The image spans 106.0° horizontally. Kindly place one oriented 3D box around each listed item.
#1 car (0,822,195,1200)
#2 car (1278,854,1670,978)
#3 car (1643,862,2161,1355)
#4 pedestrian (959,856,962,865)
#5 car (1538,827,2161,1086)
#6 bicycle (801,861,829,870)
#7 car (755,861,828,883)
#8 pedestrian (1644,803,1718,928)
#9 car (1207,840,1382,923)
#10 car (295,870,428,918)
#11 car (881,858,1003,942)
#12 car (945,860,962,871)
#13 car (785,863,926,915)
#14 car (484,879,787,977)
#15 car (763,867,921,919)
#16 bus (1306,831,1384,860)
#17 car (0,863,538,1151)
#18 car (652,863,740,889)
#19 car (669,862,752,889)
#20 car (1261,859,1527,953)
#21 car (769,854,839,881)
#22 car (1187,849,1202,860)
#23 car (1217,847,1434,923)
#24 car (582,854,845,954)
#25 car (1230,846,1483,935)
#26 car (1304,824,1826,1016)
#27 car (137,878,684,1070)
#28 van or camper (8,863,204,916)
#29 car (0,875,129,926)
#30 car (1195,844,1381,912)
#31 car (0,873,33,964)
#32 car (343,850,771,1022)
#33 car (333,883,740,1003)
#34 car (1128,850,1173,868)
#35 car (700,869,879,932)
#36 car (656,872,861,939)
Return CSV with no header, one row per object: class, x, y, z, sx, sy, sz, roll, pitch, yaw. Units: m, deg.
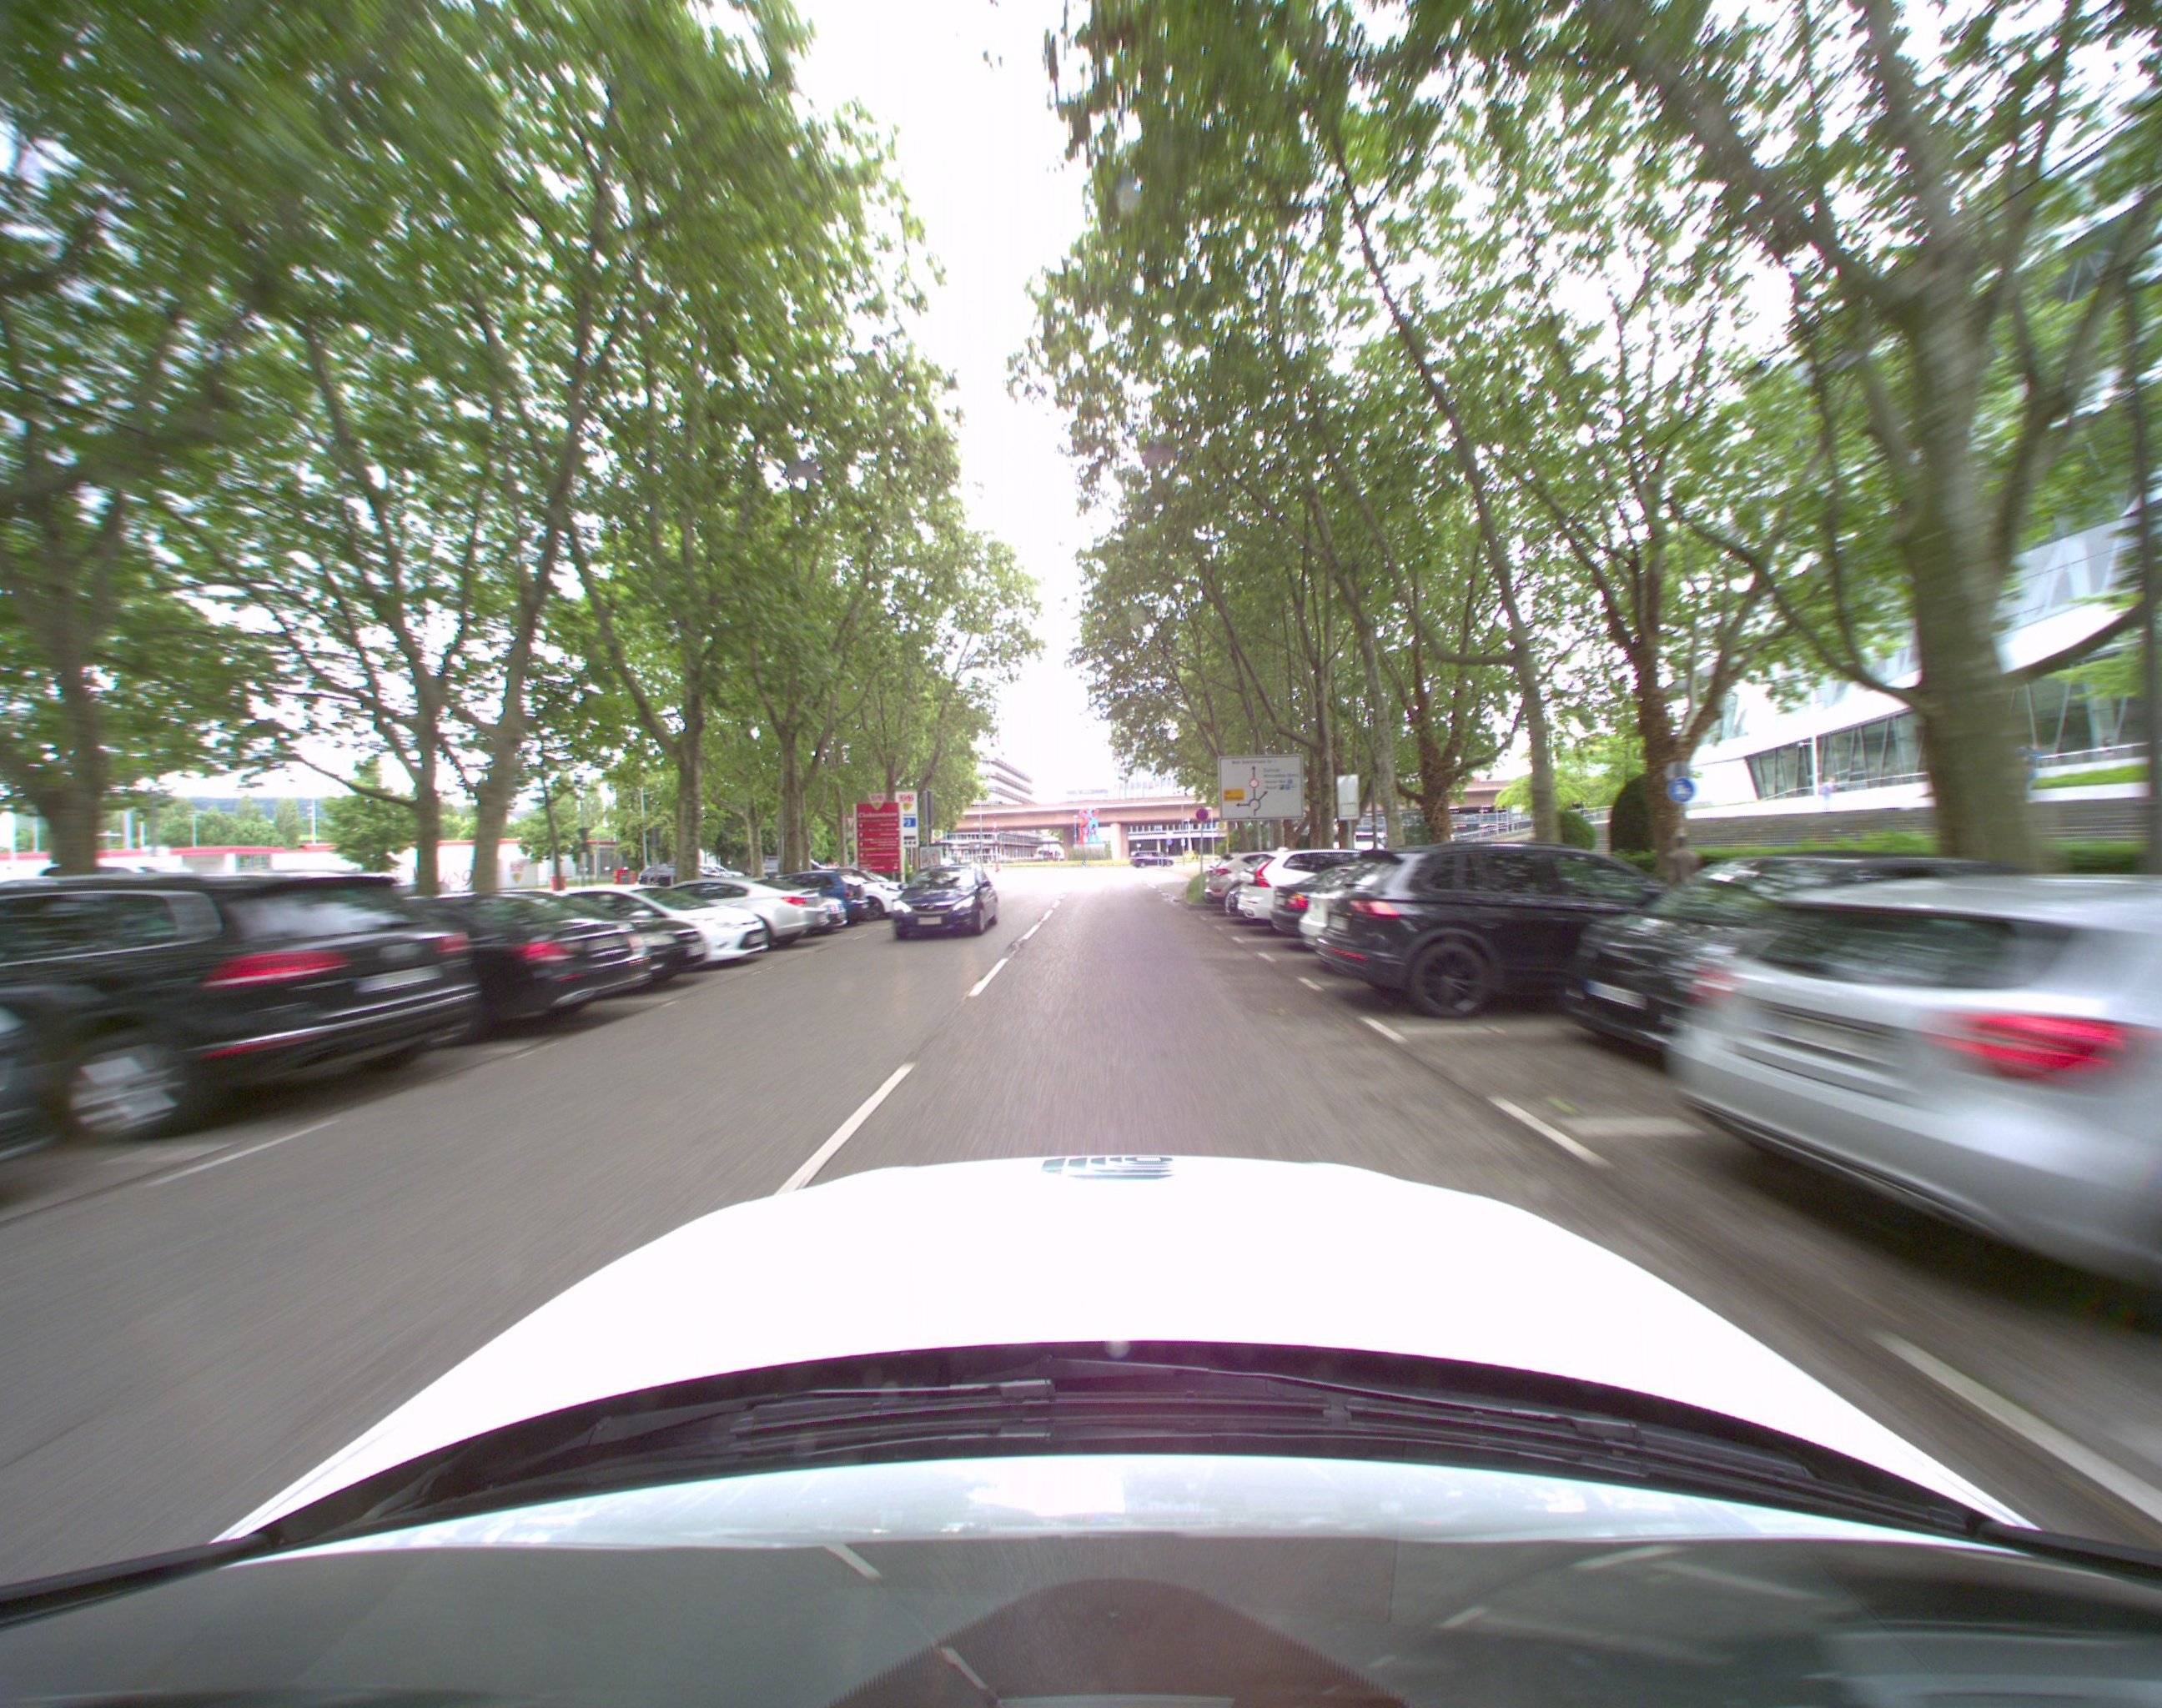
car,-7.347,0.877,3.721,4.307,1.810,1.866,-3,0,-3
car,5.020,0.752,10.870,4.332,1.456,1.949,0,0,-1
car,4.659,0.766,3.335,3.630,1.427,1.664,0,0,-2
pedestrian,-27.370,1.426,184.997,0.588,2.014,0.597,-1,-1,-10
car,5.592,0.649,6.044,3.423,1.492,1.680,-3,0,0
bicycle,-33.305,1.434,102.039,3.186,1.097,0.769,-1,-1,-15
car,-21.364,1.337,60.265,4.606,1.568,2.110,-1,-1,3
pedestrian,9.964,0.182,13.528,0.786,2.014,0.596,-1,-1,-15
car,5.322,0.656,20.725,3.972,2.013,2.001,0,0,1
car,-26.566,1.396,30.303,2.101,1.552,4.942,-1,-1,-21
car,-2.852,0.894,17.593,1.836,1.510,4.014,-3,0,0
car,-17.956,1.574,114.814,1.897,1.453,4.807,-3,0,-5
car,-7.197,1.103,26.293,3.977,1.540,1.806,-1,-1,2
car,-7.258,1.179,13.582,3.974,1.404,1.885,-1,-1,0
car,-6.932,1.112,23.876,3.975,1.385,1.914,-1,-1,4
bus,37.811,-1.195,116.517,11.073,3.934,2.743,-1,-1,-17
car,-6.998,1.006,6.232,4.301,1.795,2.037,-1,-1,1
car,-21.626,1.217,45.875,3.973,1.324,2.002,-1,-1,0
car,-22.063,1.284,48.578,3.972,1.522,2.002,-1,-1,1
car,4.991,0.802,13.366,3.718,1.402,1.776,0,0,0
car,-21.447,1.043,63.234,4.596,2.025,2.265,-1,-1,3
car,22.150,0.059,158.733,1.977,2.014,4.019,-1,-1,19
car,5.340,0.650,18.239,4.330,1.605,1.926,0,0,1
car,-7.157,0.937,16.206,4.251,1.548,1.907,-4,-1,-1
car,5.222,0.662,15.883,4.330,1.633,1.926,0,0,1
car,4.735,0.607,8.482,4.332,1.761,1.925,0,0,0
car,-6.834,1.171,8.671,4.112,1.452,2.015,-4,0,3
van or camper,-34.219,1.210,28.684,4.306,1.709,2.132,-1,-1,0
car,-33.877,1.487,26.267,4.204,1.548,1.789,-1,-1,-1
car,5.192,0.578,20.863,4.330,1.633,1.926,0,0,1
car,-22.567,1.249,14.775,4.306,1.709,2.132,-1,-1,0
car,-6.638,0.985,10.685,4.302,1.810,1.868,-3,0,1
car,-7.164,1.138,11.101,4.177,1.354,1.966,-1,-1,-1
car,8.068,0.568,94.483,4.775,2.014,2.272,-1,-1,-15
car,-7.552,1.189,21.351,3.979,1.493,1.833,-1,-1,1
car,-7.386,1.162,18.951,3.973,1.405,1.862,-1,-1,1
